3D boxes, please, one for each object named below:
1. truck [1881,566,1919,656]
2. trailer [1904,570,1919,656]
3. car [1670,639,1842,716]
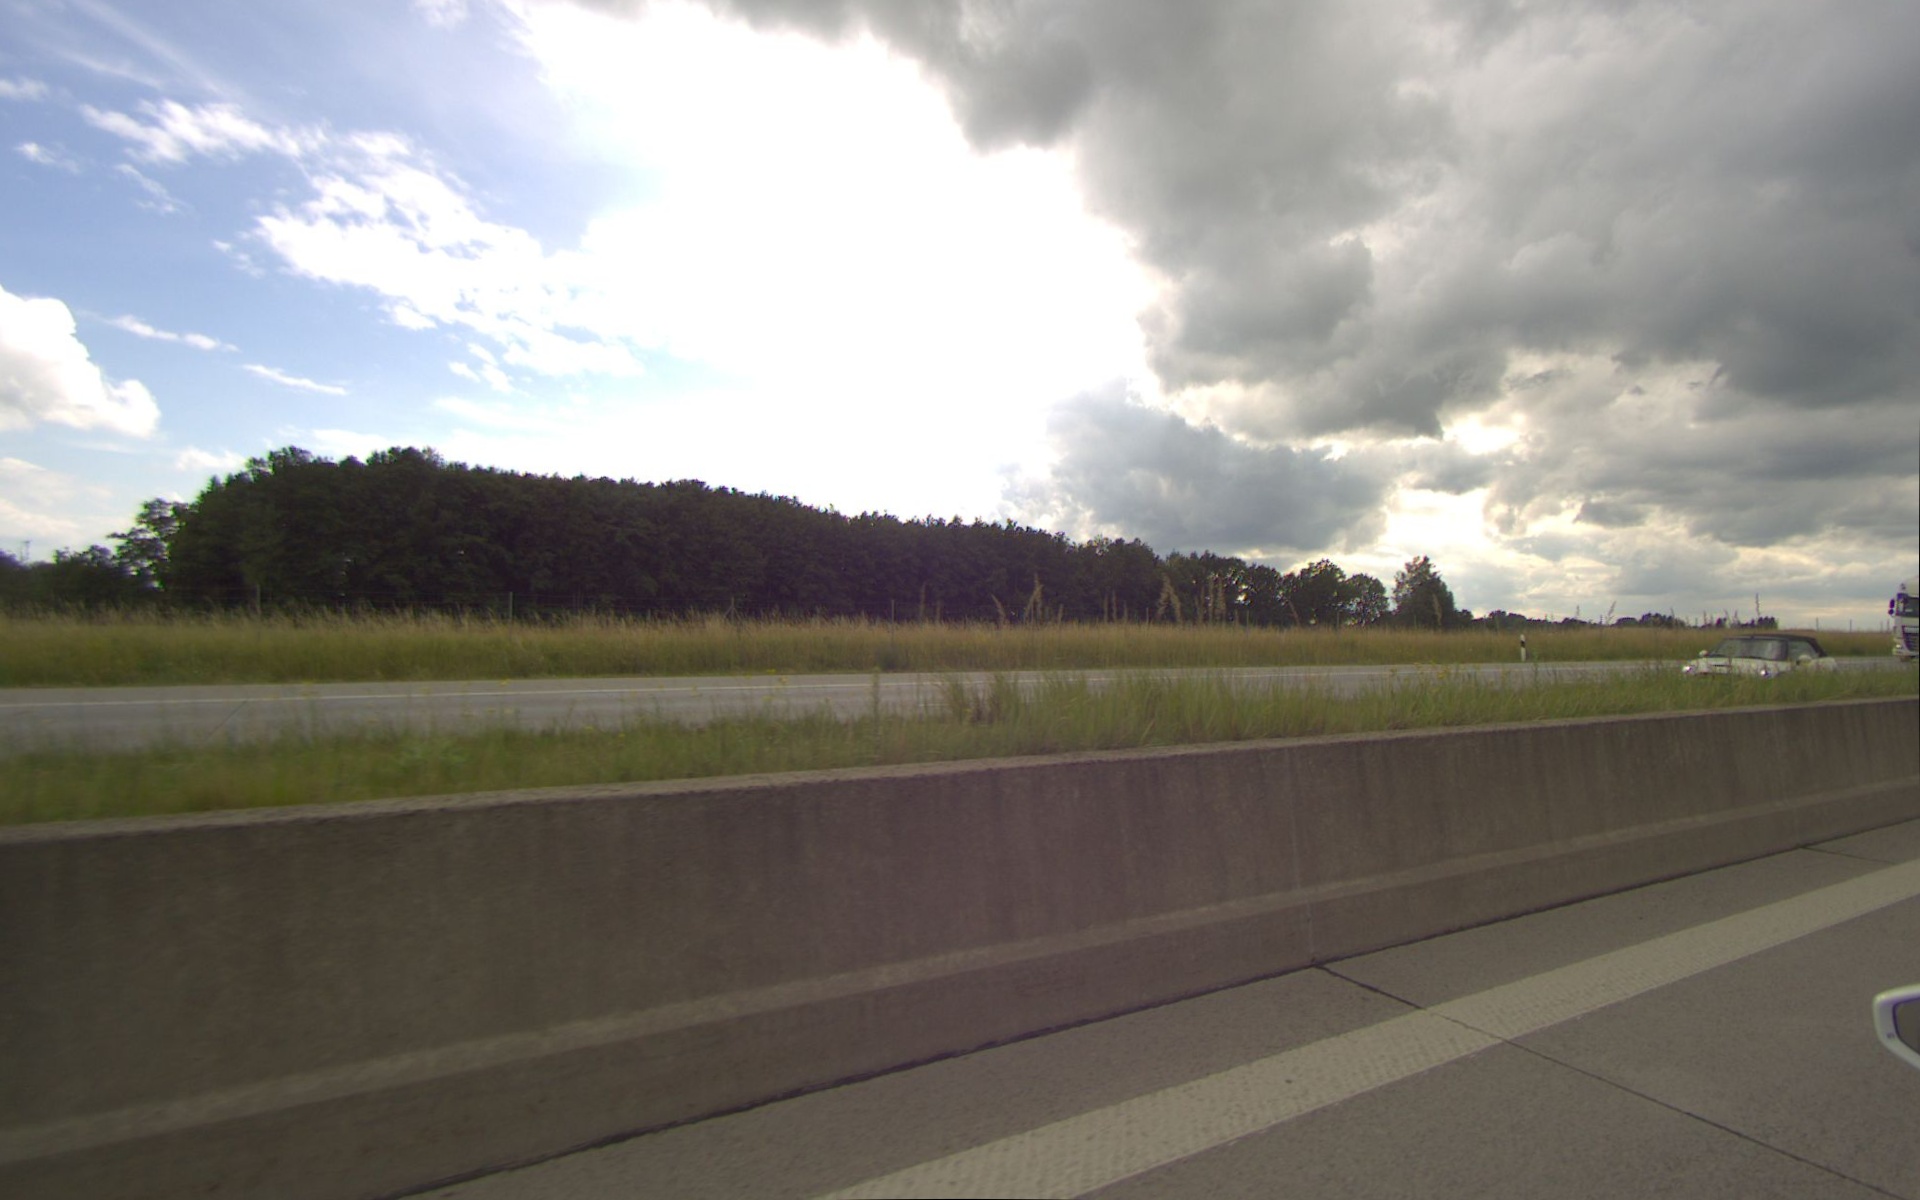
[{"bbox_3d":[45.825,0.542,46.794,5.446,4.092,2.826,1,-1,-30],"label":"truck"},{"bbox_3d":[51.747,0.726,50.270,13.744,4.092,2.826,1,-1,-31],"label":"trailer"},{"bbox_3d":[15.942,1.498,20.093,3.432,1.370,1.559,1,-1,-30],"label":"car"}]
